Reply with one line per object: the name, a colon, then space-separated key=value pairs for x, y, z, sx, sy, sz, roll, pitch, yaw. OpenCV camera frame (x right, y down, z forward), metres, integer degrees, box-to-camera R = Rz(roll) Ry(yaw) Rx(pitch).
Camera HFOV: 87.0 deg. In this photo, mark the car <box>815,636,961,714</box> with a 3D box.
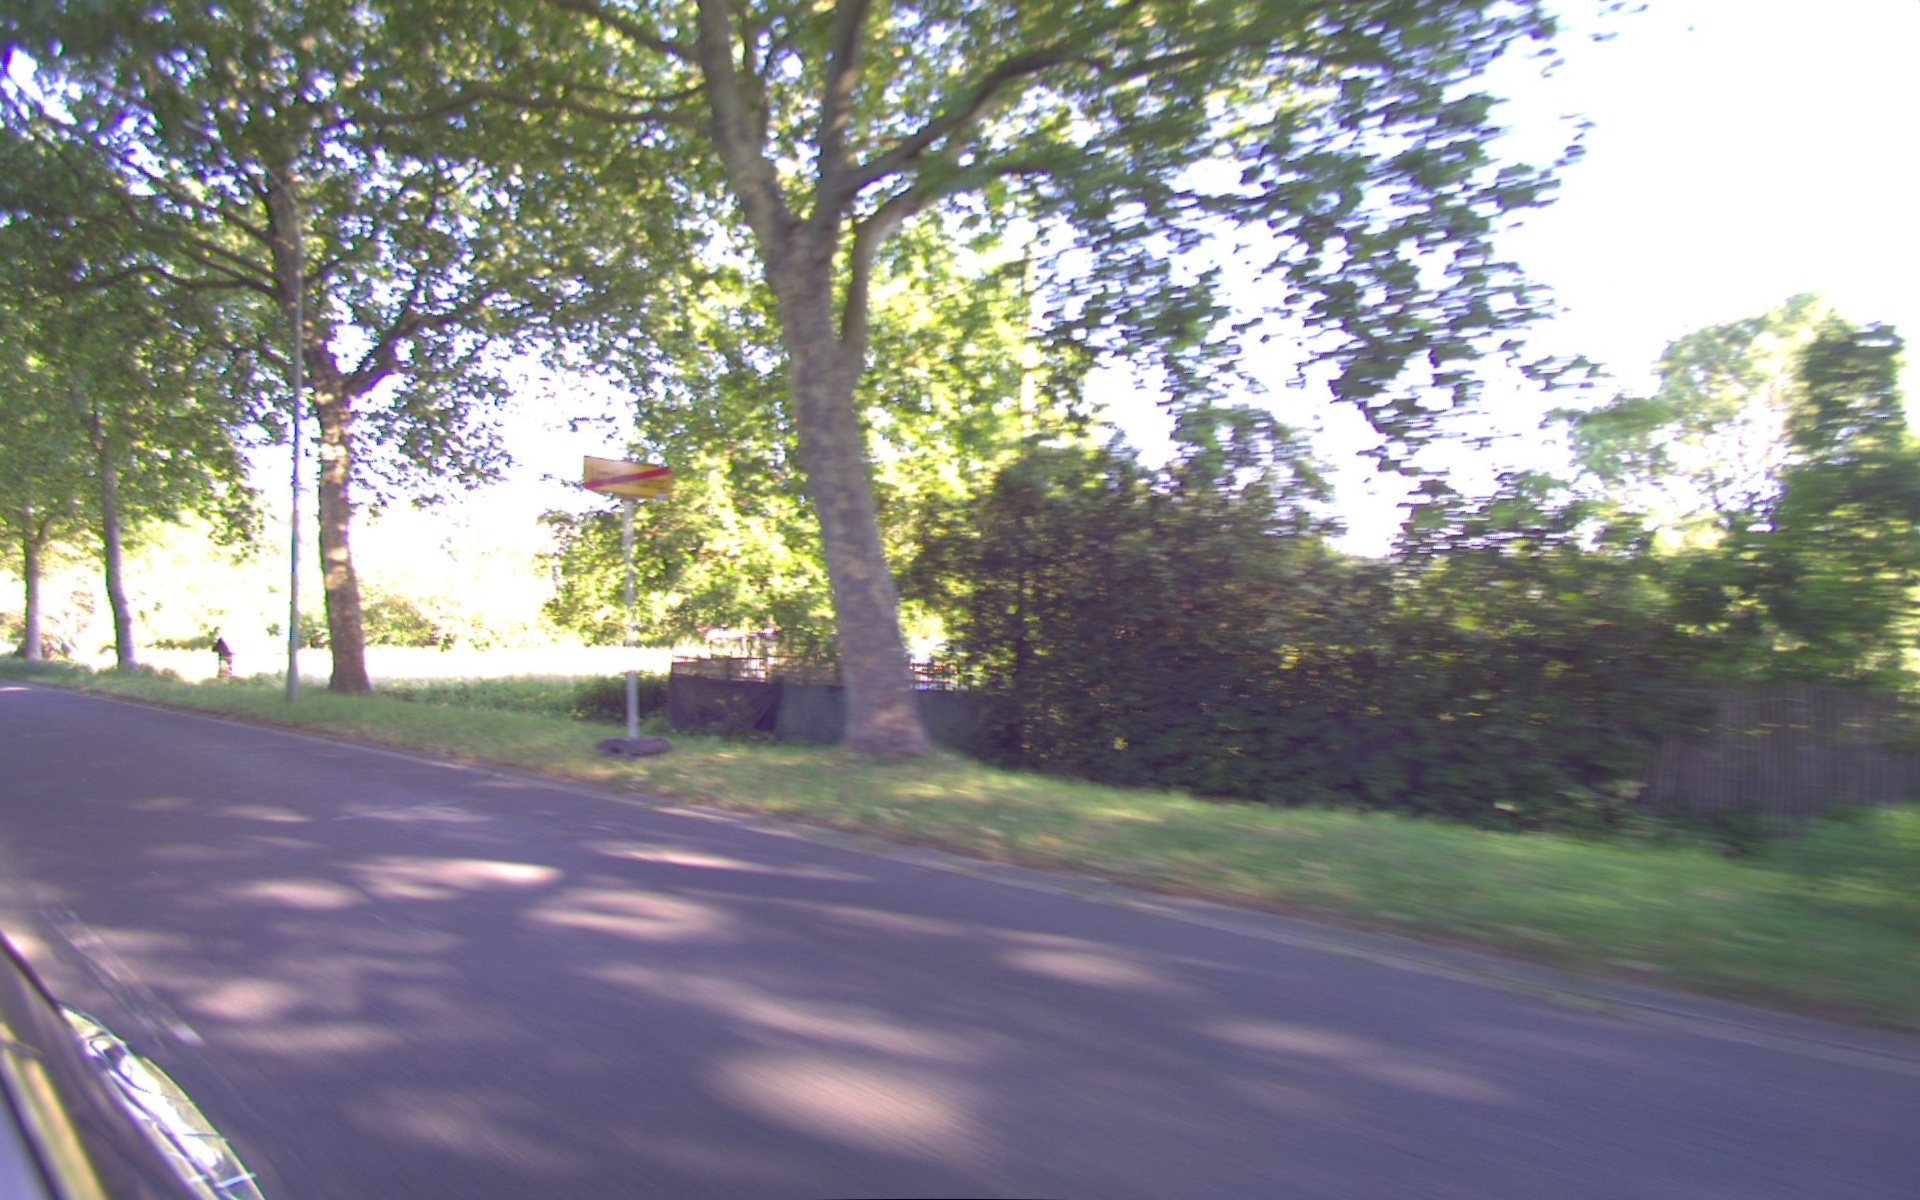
car: x=-2.113 y=2.157 z=30.174 sx=3.938 sy=2.029 sz=2.003 roll=0 pitch=-1 yaw=-42
